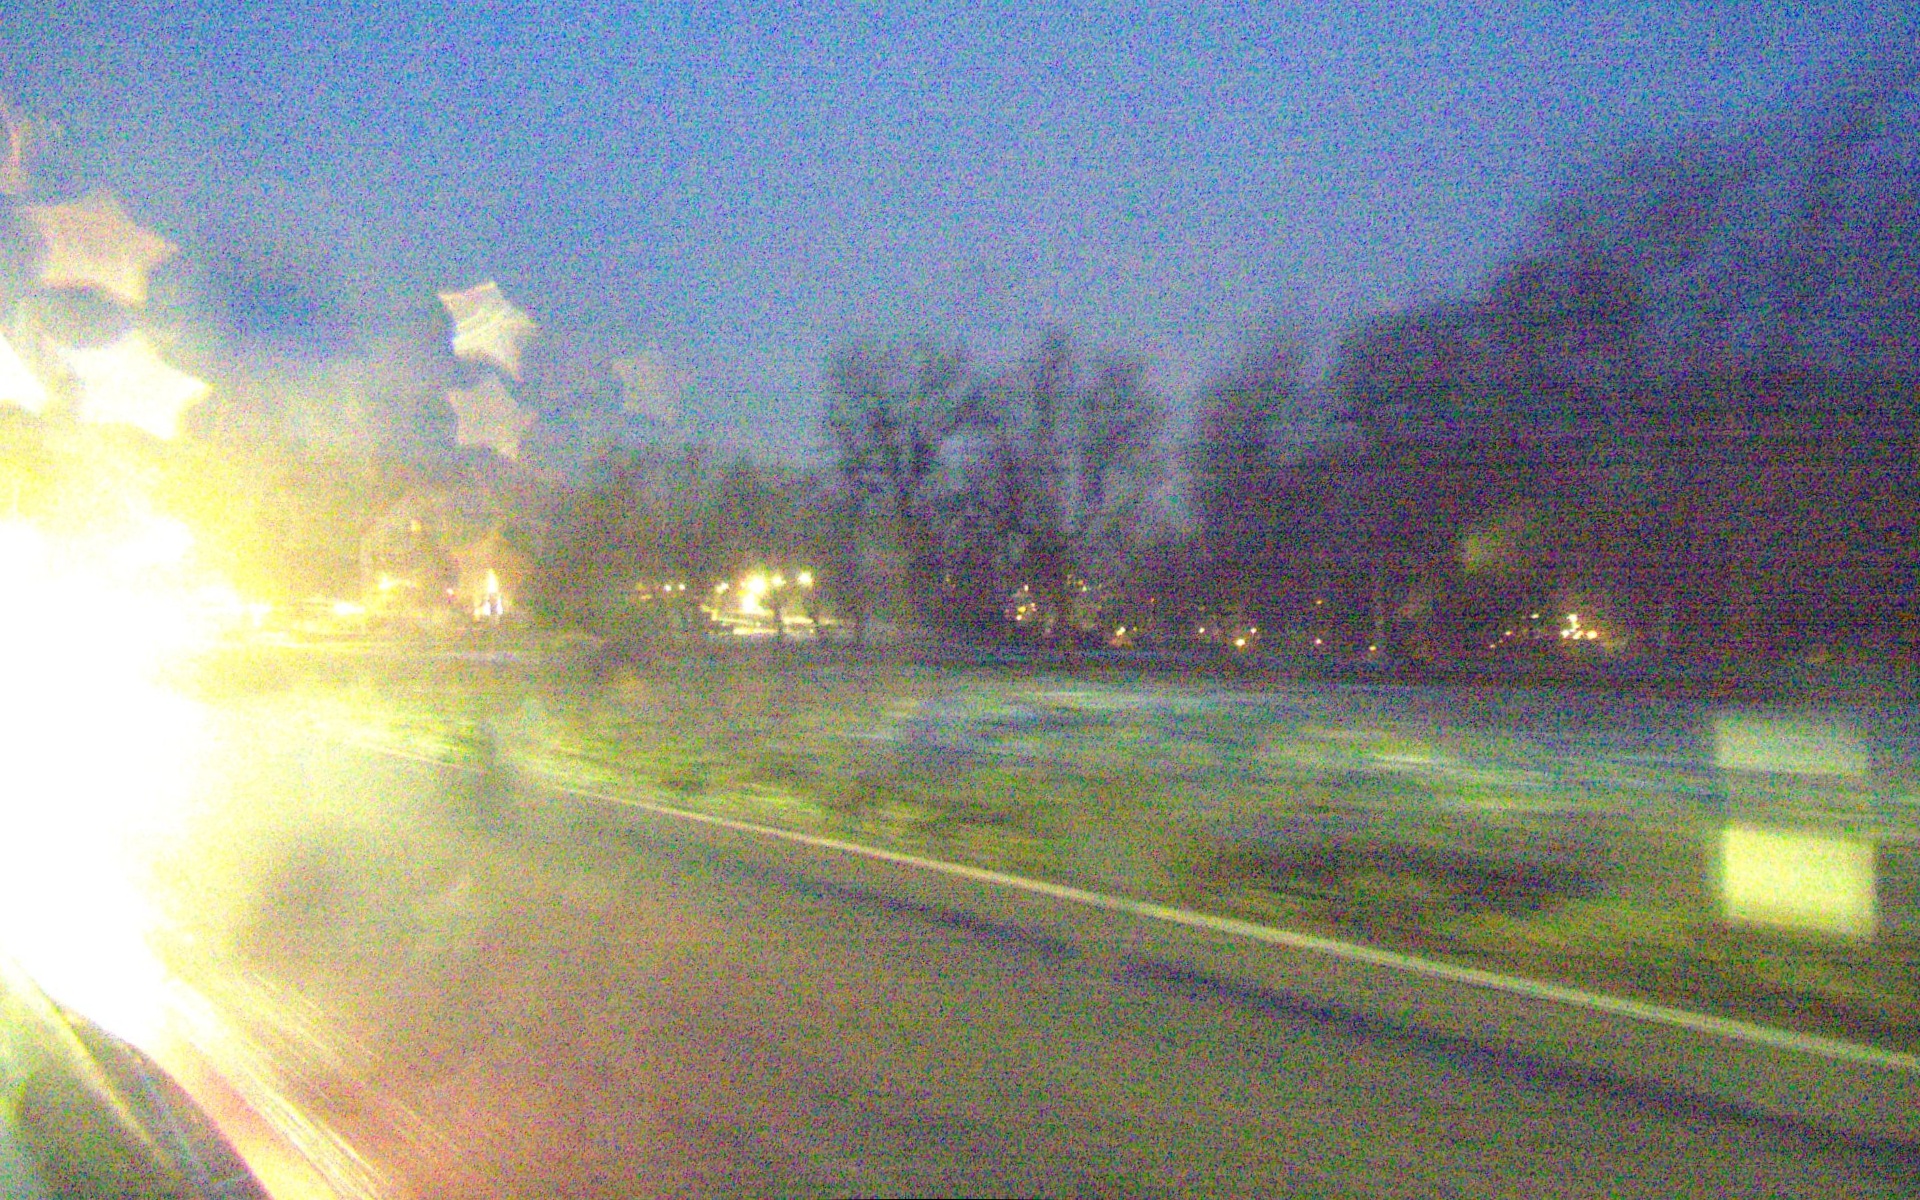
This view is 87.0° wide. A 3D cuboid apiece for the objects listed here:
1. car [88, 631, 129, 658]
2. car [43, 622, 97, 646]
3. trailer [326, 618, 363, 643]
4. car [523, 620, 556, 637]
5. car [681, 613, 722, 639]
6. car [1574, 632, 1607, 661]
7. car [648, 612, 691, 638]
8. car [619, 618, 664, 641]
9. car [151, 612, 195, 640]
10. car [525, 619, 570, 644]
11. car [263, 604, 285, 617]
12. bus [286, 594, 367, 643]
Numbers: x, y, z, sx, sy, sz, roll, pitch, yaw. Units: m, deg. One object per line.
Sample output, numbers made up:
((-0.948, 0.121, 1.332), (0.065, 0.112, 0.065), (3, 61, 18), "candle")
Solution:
((-51.147, 2.635, 60.835), (1.614, 1.521, 4.104), (2, -2, -37), "car")
((-58.187, 2.235, 66.217), (1.898, 1.521, 4.107), (2, -2, -31), "car")
((-44.308, 2.212, 72.831), (1.789, 1.690, 4.109), (3, -2, -38), "trailer")
((-43.731, 2.917, 105.237), (1.834, 1.408, 4.042), (3, 2, -2), "car")
((-23.637, 2.358, 92.483), (4.002, 2.071, 1.739), (2, 3, 44), "car")
((54.317, 4.006, 87.248), (2.298, 2.028, 4.618), (1, 3, 32), "car")
((-26.262, 2.208, 91.501), (4.002, 2.071, 1.971), (2, 3, 44), "car")
((-28.141, 2.554, 89.349), (1.914, 1.709, 4.632), (-2, 3, -43), "car")
((-62.447, 2.033, 80.374), (1.966, 2.029, 4.860), (-2, 1, -29), "car")
((-34.199, 2.556, 83.761), (1.914, 1.709, 4.632), (-2, 3, -43), "car")
((-84.950, 1.342, 125.345), (1.612, 1.522, 4.130), (2, -2, -27), "car")
((-55.300, 1.497, 88.098), (13.062, 3.897, 2.861), (1, 1, 44), "bus")
